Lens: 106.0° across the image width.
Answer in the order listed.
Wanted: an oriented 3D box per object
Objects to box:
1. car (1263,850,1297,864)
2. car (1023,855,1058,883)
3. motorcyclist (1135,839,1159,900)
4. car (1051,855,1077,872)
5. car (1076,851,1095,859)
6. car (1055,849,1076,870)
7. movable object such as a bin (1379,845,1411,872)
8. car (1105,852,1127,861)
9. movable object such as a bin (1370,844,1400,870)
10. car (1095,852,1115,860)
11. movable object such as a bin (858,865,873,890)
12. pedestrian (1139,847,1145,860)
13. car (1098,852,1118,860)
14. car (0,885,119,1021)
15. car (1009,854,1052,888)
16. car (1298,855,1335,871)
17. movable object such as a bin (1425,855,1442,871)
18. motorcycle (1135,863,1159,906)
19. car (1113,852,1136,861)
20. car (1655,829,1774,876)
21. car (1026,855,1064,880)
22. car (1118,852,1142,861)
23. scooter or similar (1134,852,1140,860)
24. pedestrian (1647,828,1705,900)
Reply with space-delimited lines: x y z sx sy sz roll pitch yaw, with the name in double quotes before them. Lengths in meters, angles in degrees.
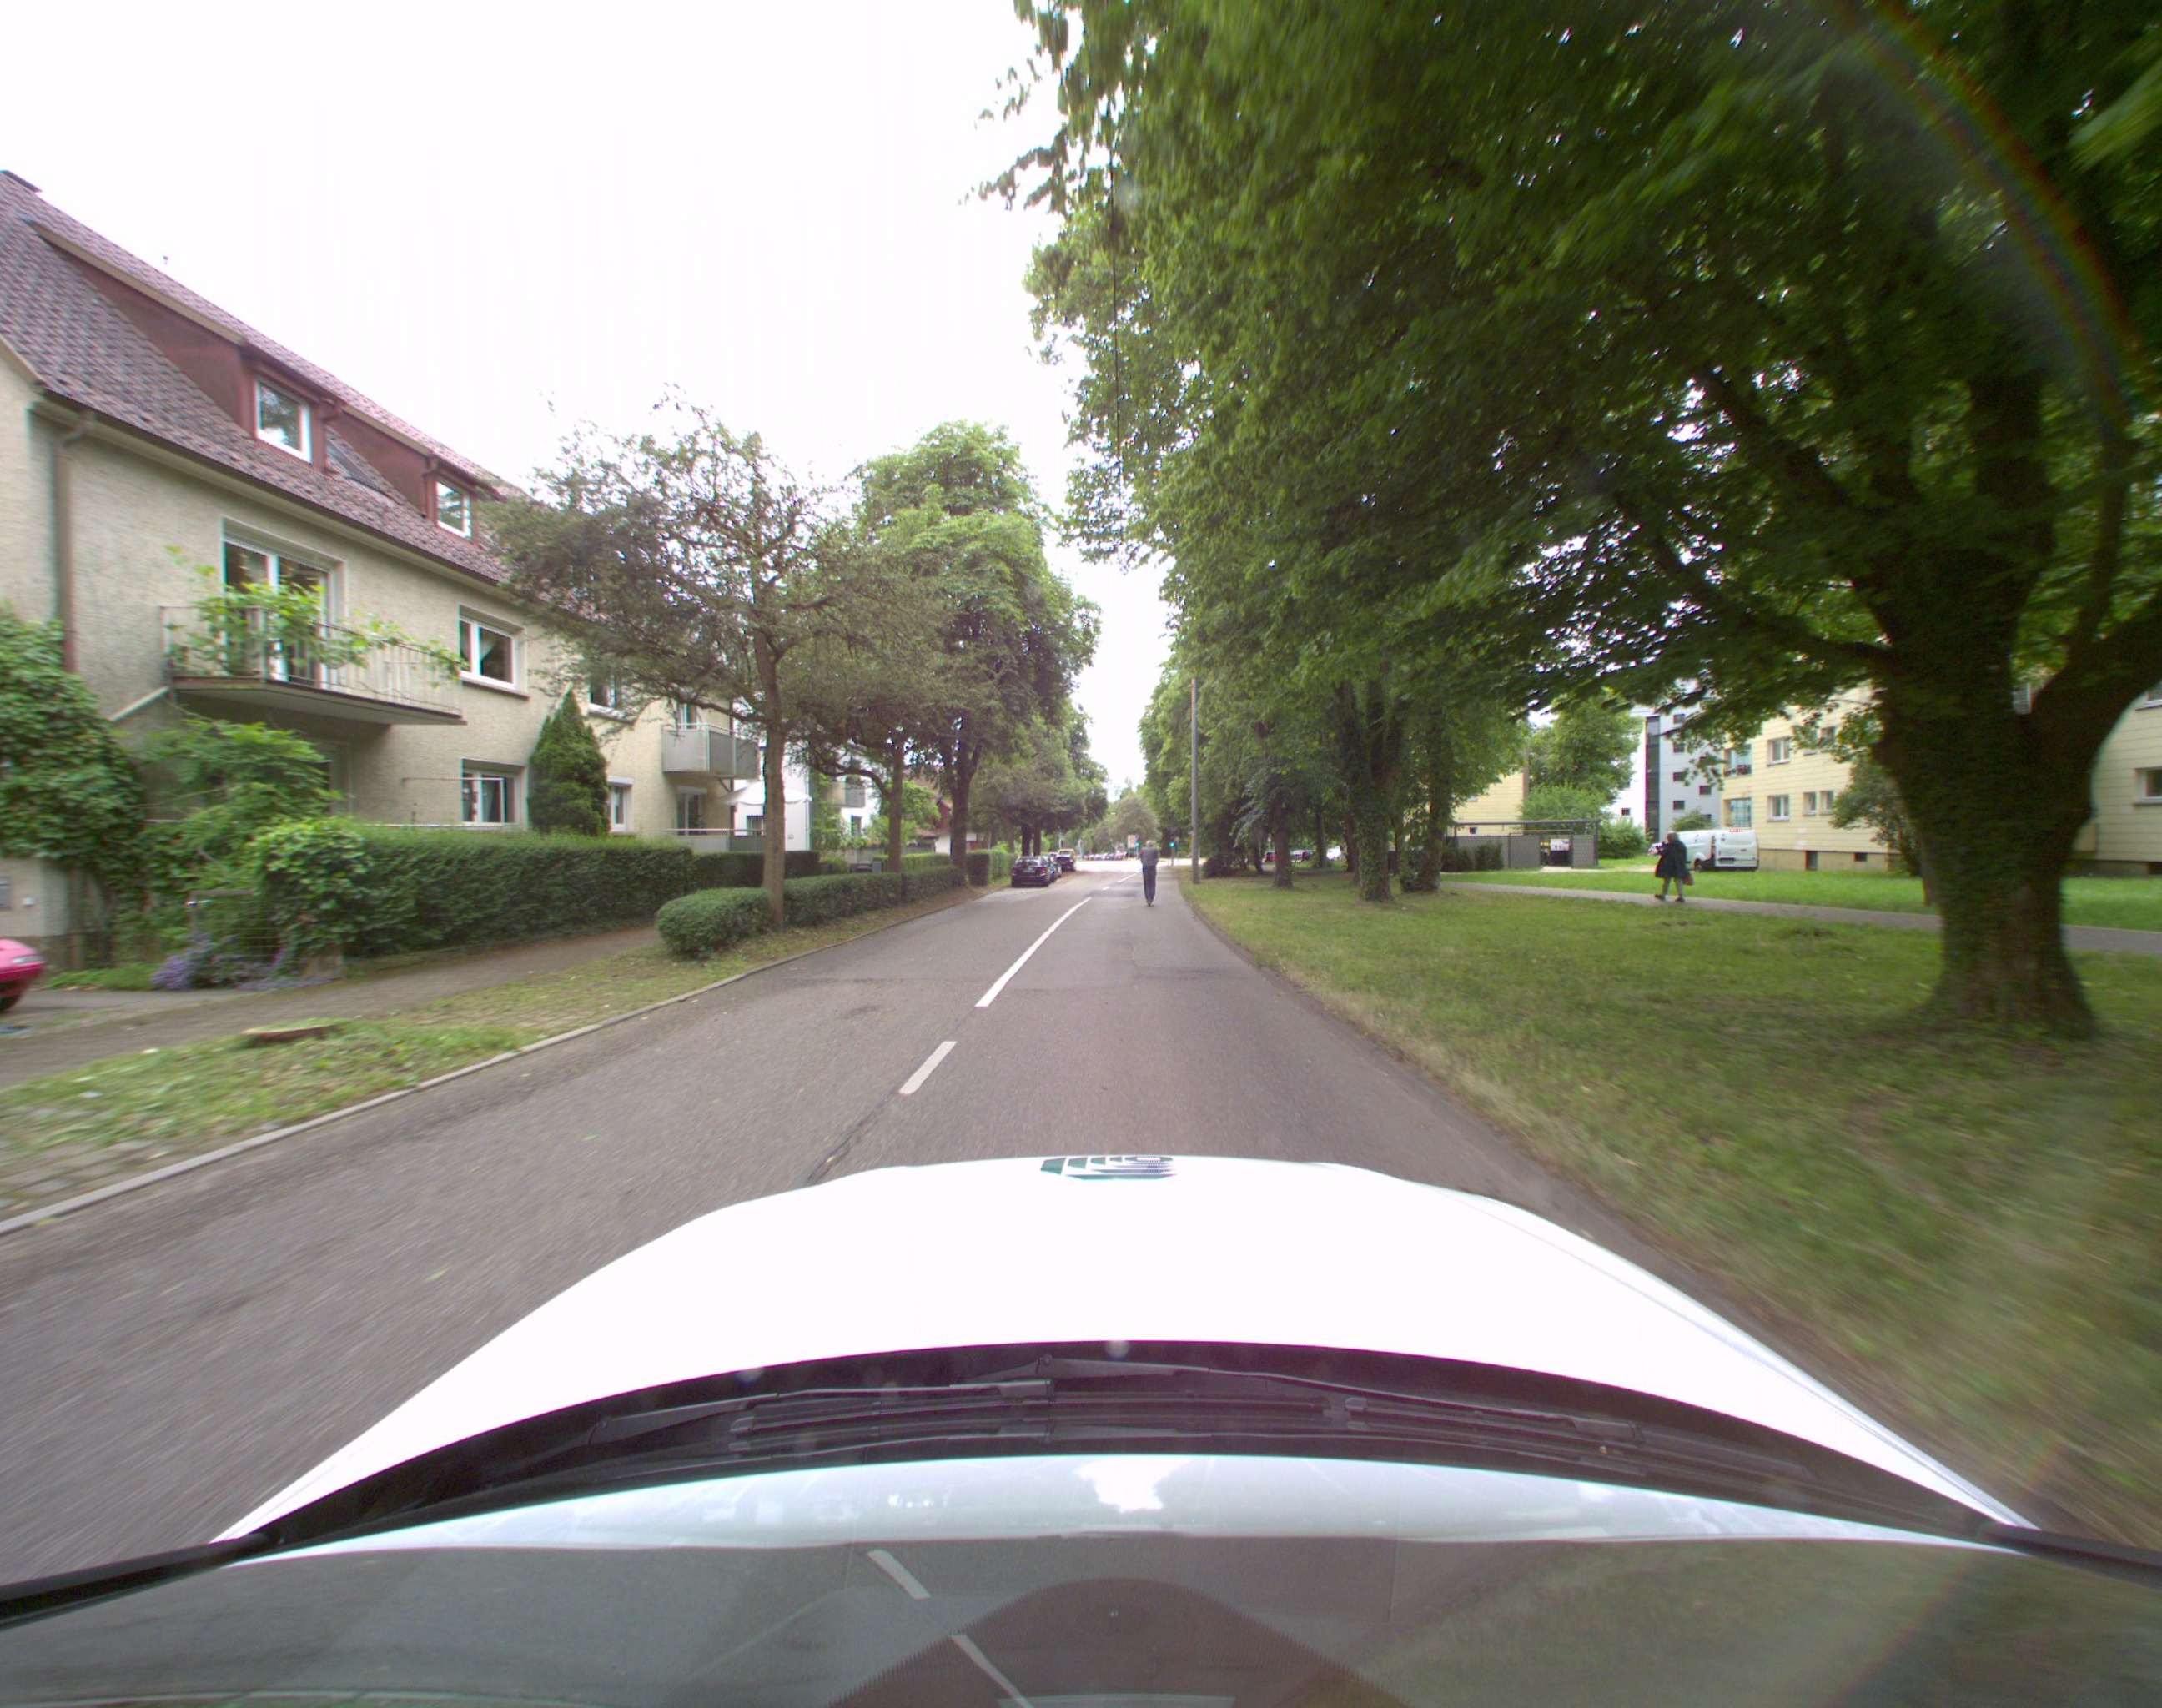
"car" 24.222 0.347 99.154 3.958 1.557 1.808 1 3 14
"car" -2.185 0.774 44.477 1.659 1.391 3.706 -1 0 0
"motorcyclist" 1.932 0.443 23.828 0.670 1.761 0.639 1 0 3
"car" -1.469 0.804 70.465 1.884 1.410 4.557 -2 0 3
"car" 0.975 0.187 178.802 3.975 1.510 1.799 -2 0 -1
"car" -1.578 0.533 81.355 1.853 1.964 4.499 -1 -1 -3
"movable object such as a bin" 18.282 0.273 47.477 1.322 1.501 1.314 -2 0 0
"car" 6.571 0.424 151.429 3.975 1.510 1.799 -2 0 -1
"movable object such as a bin" 18.277 0.187 48.978 1.322 1.501 1.314 -2 0 0
"car" 4.743 0.467 164.112 3.975 1.510 1.799 -2 0 -1
"movable object such as a bin" -8.211 0.891 31.004 0.455 0.915 0.508 -2 0 -4
"pedestrian" 8.842 -0.083 118.386 0.726 1.762 0.665 -1 -1 21
"car" 5.397 0.442 162.193 3.975 1.510 1.799 -2 0 -1
"car" -11.779 0.937 7.412 3.974 1.199 1.698 -1 0 0
"car" -2.382 0.785 39.386 1.788 1.472 4.417 -1 0 0
"car" 28.305 1.040 97.996 3.950 1.726 1.811 1 3 27
"movable object such as a bin" 19.691 0.521 45.484 0.597 0.878 0.669 -2 0 0
"motorcycle" 1.918 0.870 23.696 0.670 1.217 1.275 1 0 4
"car" 7.725 0.375 144.550 3.975 1.510 1.799 -2 0 -1
"car" 27.587 -0.124 35.725 2.073 1.842 4.983 -2 1 11
"car" -2.172 0.804 50.239 1.786 1.410 4.649 -1 0 3
"car" 8.294 0.392 137.389 3.975 1.510 1.799 -2 0 -1
"scooter or similar" 8.169 0.296 118.698 0.704 1.049 0.791 -1 -1 21
"pedestrian" 14.449 0.233 19.799 0.765 1.686 0.815 -2 0 1
